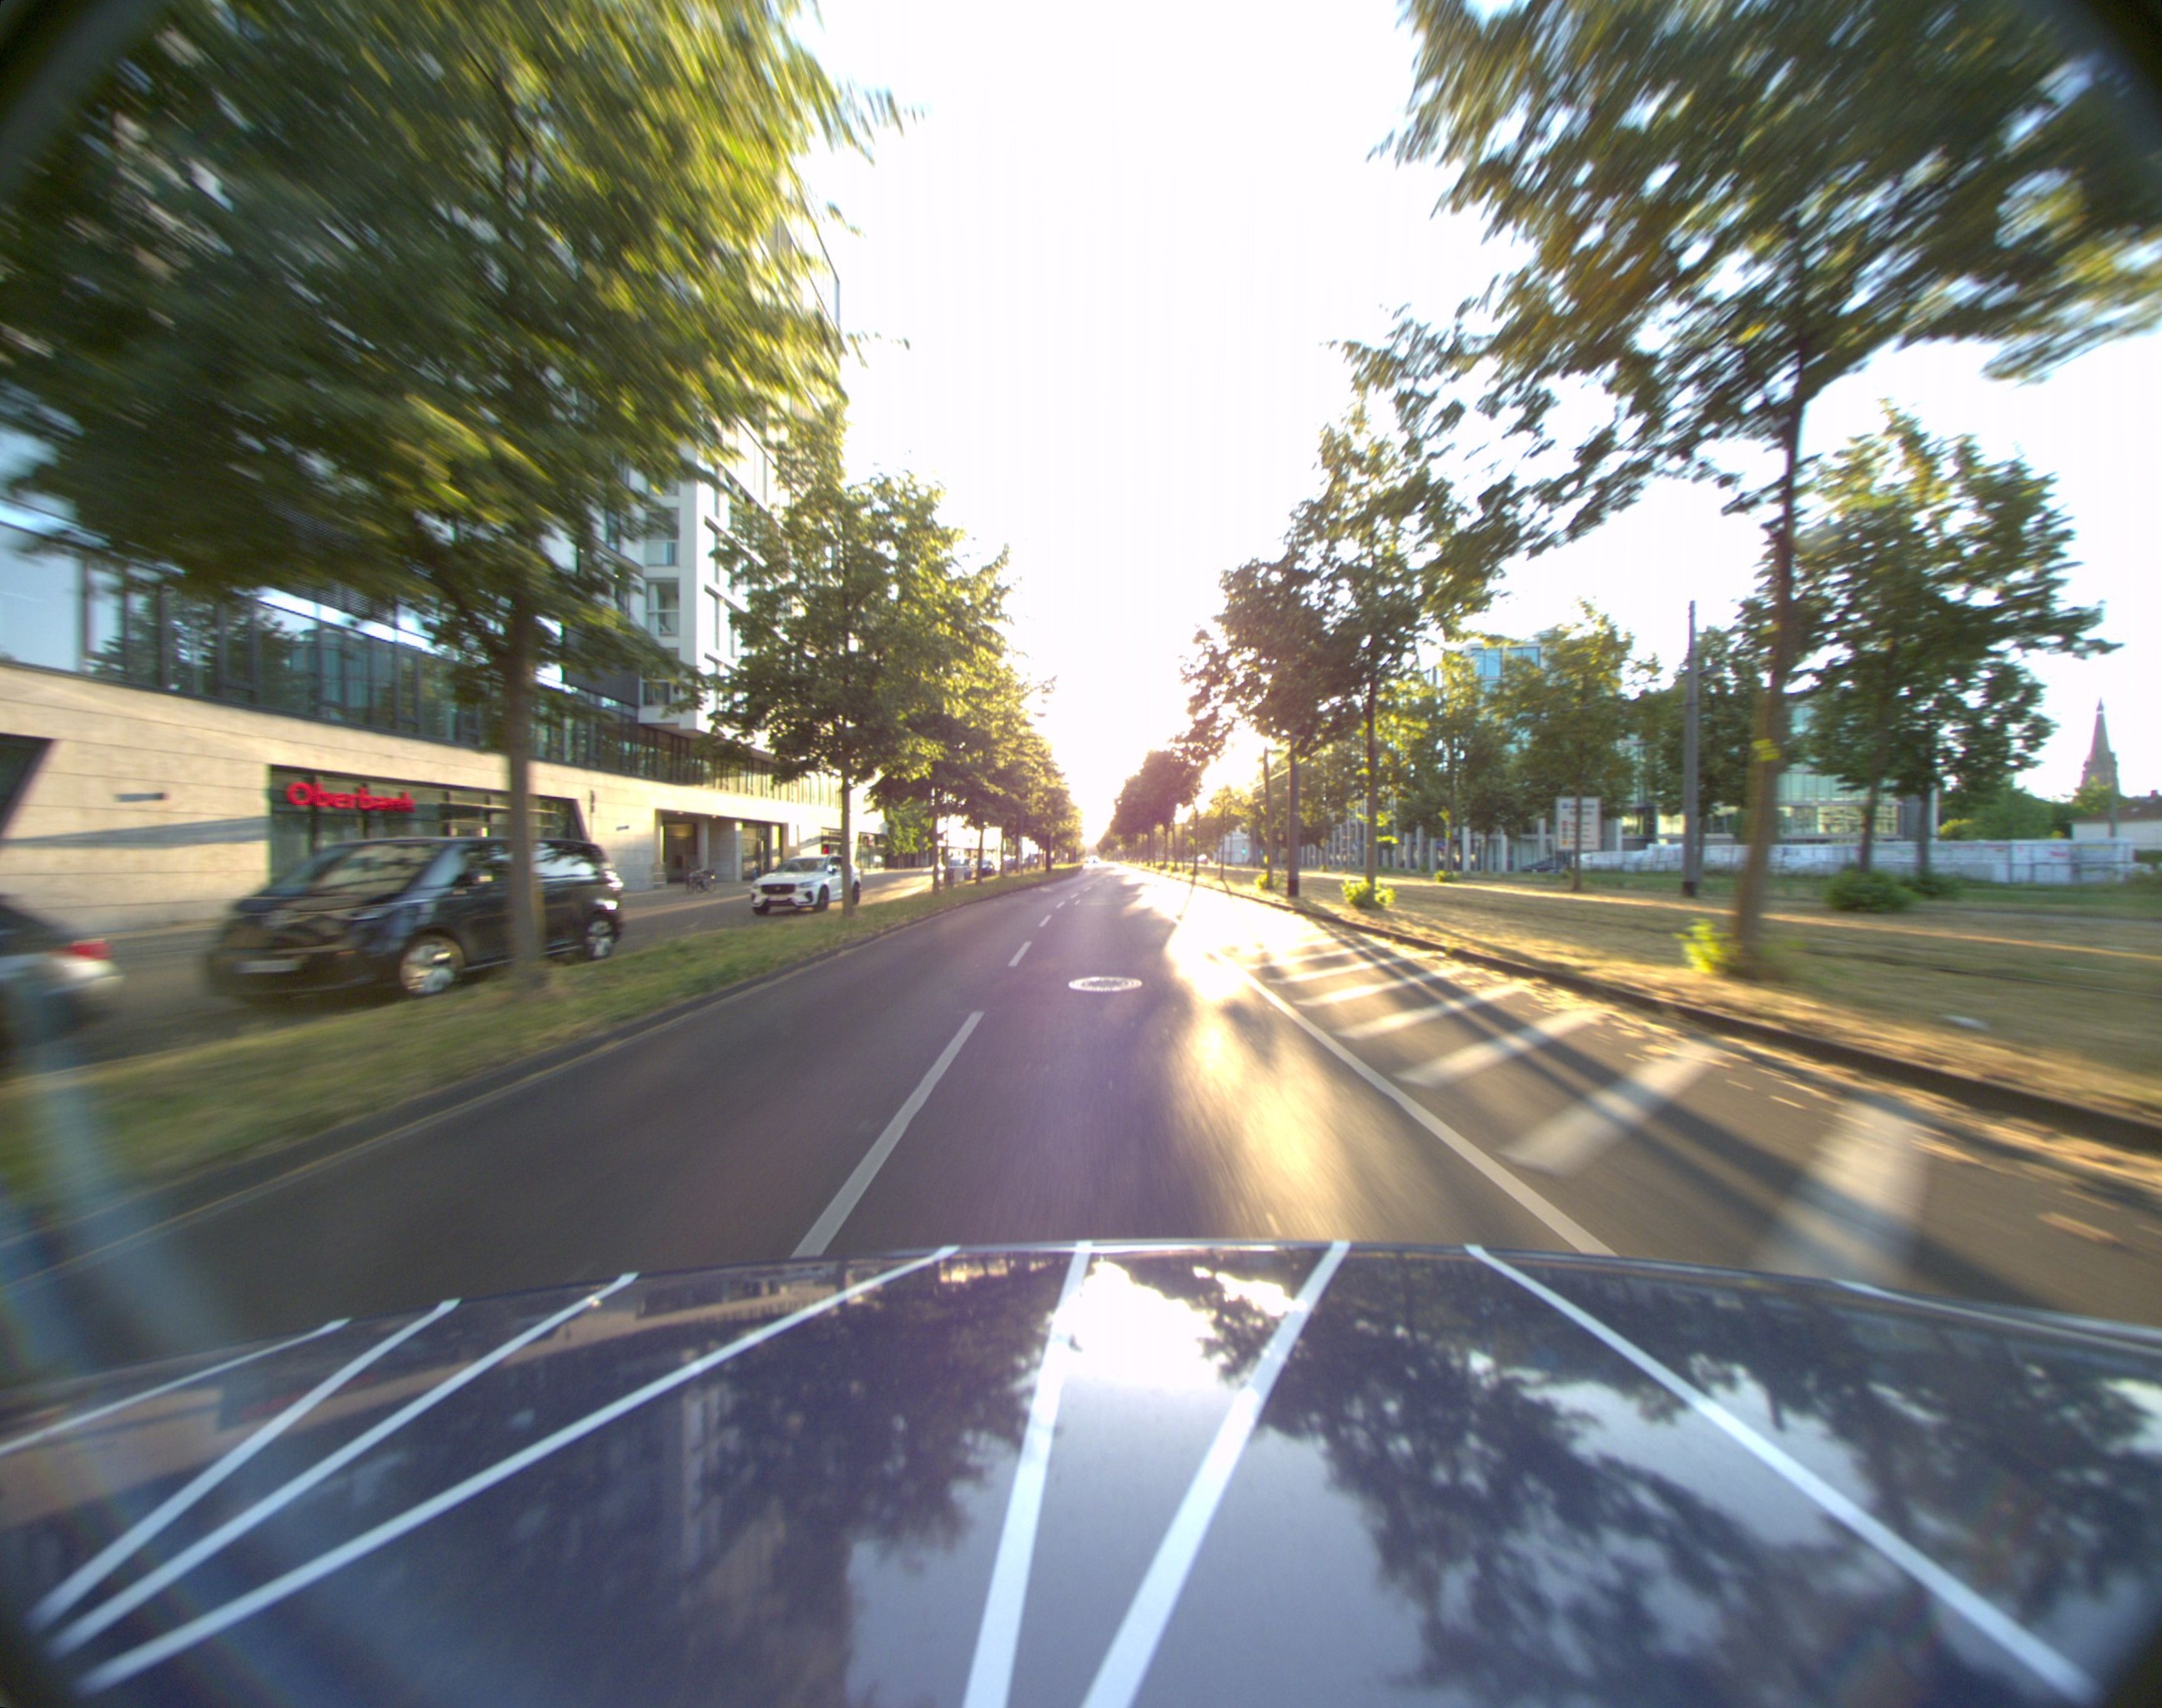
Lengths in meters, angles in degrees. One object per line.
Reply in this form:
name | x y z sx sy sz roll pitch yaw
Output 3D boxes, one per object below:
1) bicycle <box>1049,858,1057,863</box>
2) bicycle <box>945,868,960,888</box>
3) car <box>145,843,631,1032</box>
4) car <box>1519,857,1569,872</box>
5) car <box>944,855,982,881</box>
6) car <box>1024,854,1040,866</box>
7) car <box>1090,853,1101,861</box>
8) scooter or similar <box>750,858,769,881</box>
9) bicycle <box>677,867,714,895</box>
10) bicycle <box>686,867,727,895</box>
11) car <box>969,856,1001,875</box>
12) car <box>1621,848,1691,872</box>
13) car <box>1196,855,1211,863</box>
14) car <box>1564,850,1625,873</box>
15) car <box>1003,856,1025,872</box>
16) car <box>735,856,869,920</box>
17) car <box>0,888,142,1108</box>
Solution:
bicycle | -5.321 1.186 145.665 1.718 0.905 0.363 0 0 34
bicycle | -5.558 1.038 32.969 0.316 0.818 1.552 0 0 2
car | -8.141 0.806 9.754 1.999 1.841 4.664 0 0 -1
car | 47.897 1.084 78.725 3.996 1.437 1.895 0 0 4
car | -7.286 0.831 47.116 1.714 1.506 3.759 -2 0 0
car | -6.495 0.823 101.544 1.843 1.561 4.061 -1 0 0
car | 2.866 0.564 151.351 1.998 1.473 4.335 0 -1 0
scooter or similar | -17.398 0.835 41.175 0.473 1.204 1.229 0 0 2
bicycle | -15.129 1.039 29.880 0.471 1.033 1.807 0 0 2
bicycle | -14.567 1.021 29.597 0.596 1.033 1.893 0 0 2
car | -7.092 0.822 56.666 1.857 1.359 4.833 0 0 -1
car | 58.722 0.615 77.645 5.493 2.453 1.974 0 0 5
car | 22.468 0.943 139.561 1.907 1.477 4.631 0 0 -1
car | 46.822 0.669 69.375 2.212 2.002 5.084 0 0 1
car | -6.792 0.966 77.334 1.785 1.485 4.000 -3 0 1
car | -7.972 0.894 22.288 1.998 1.633 4.878 0 0 2
car | -8.235 1.005 3.597 1.814 1.463 4.664 0 0 -1
